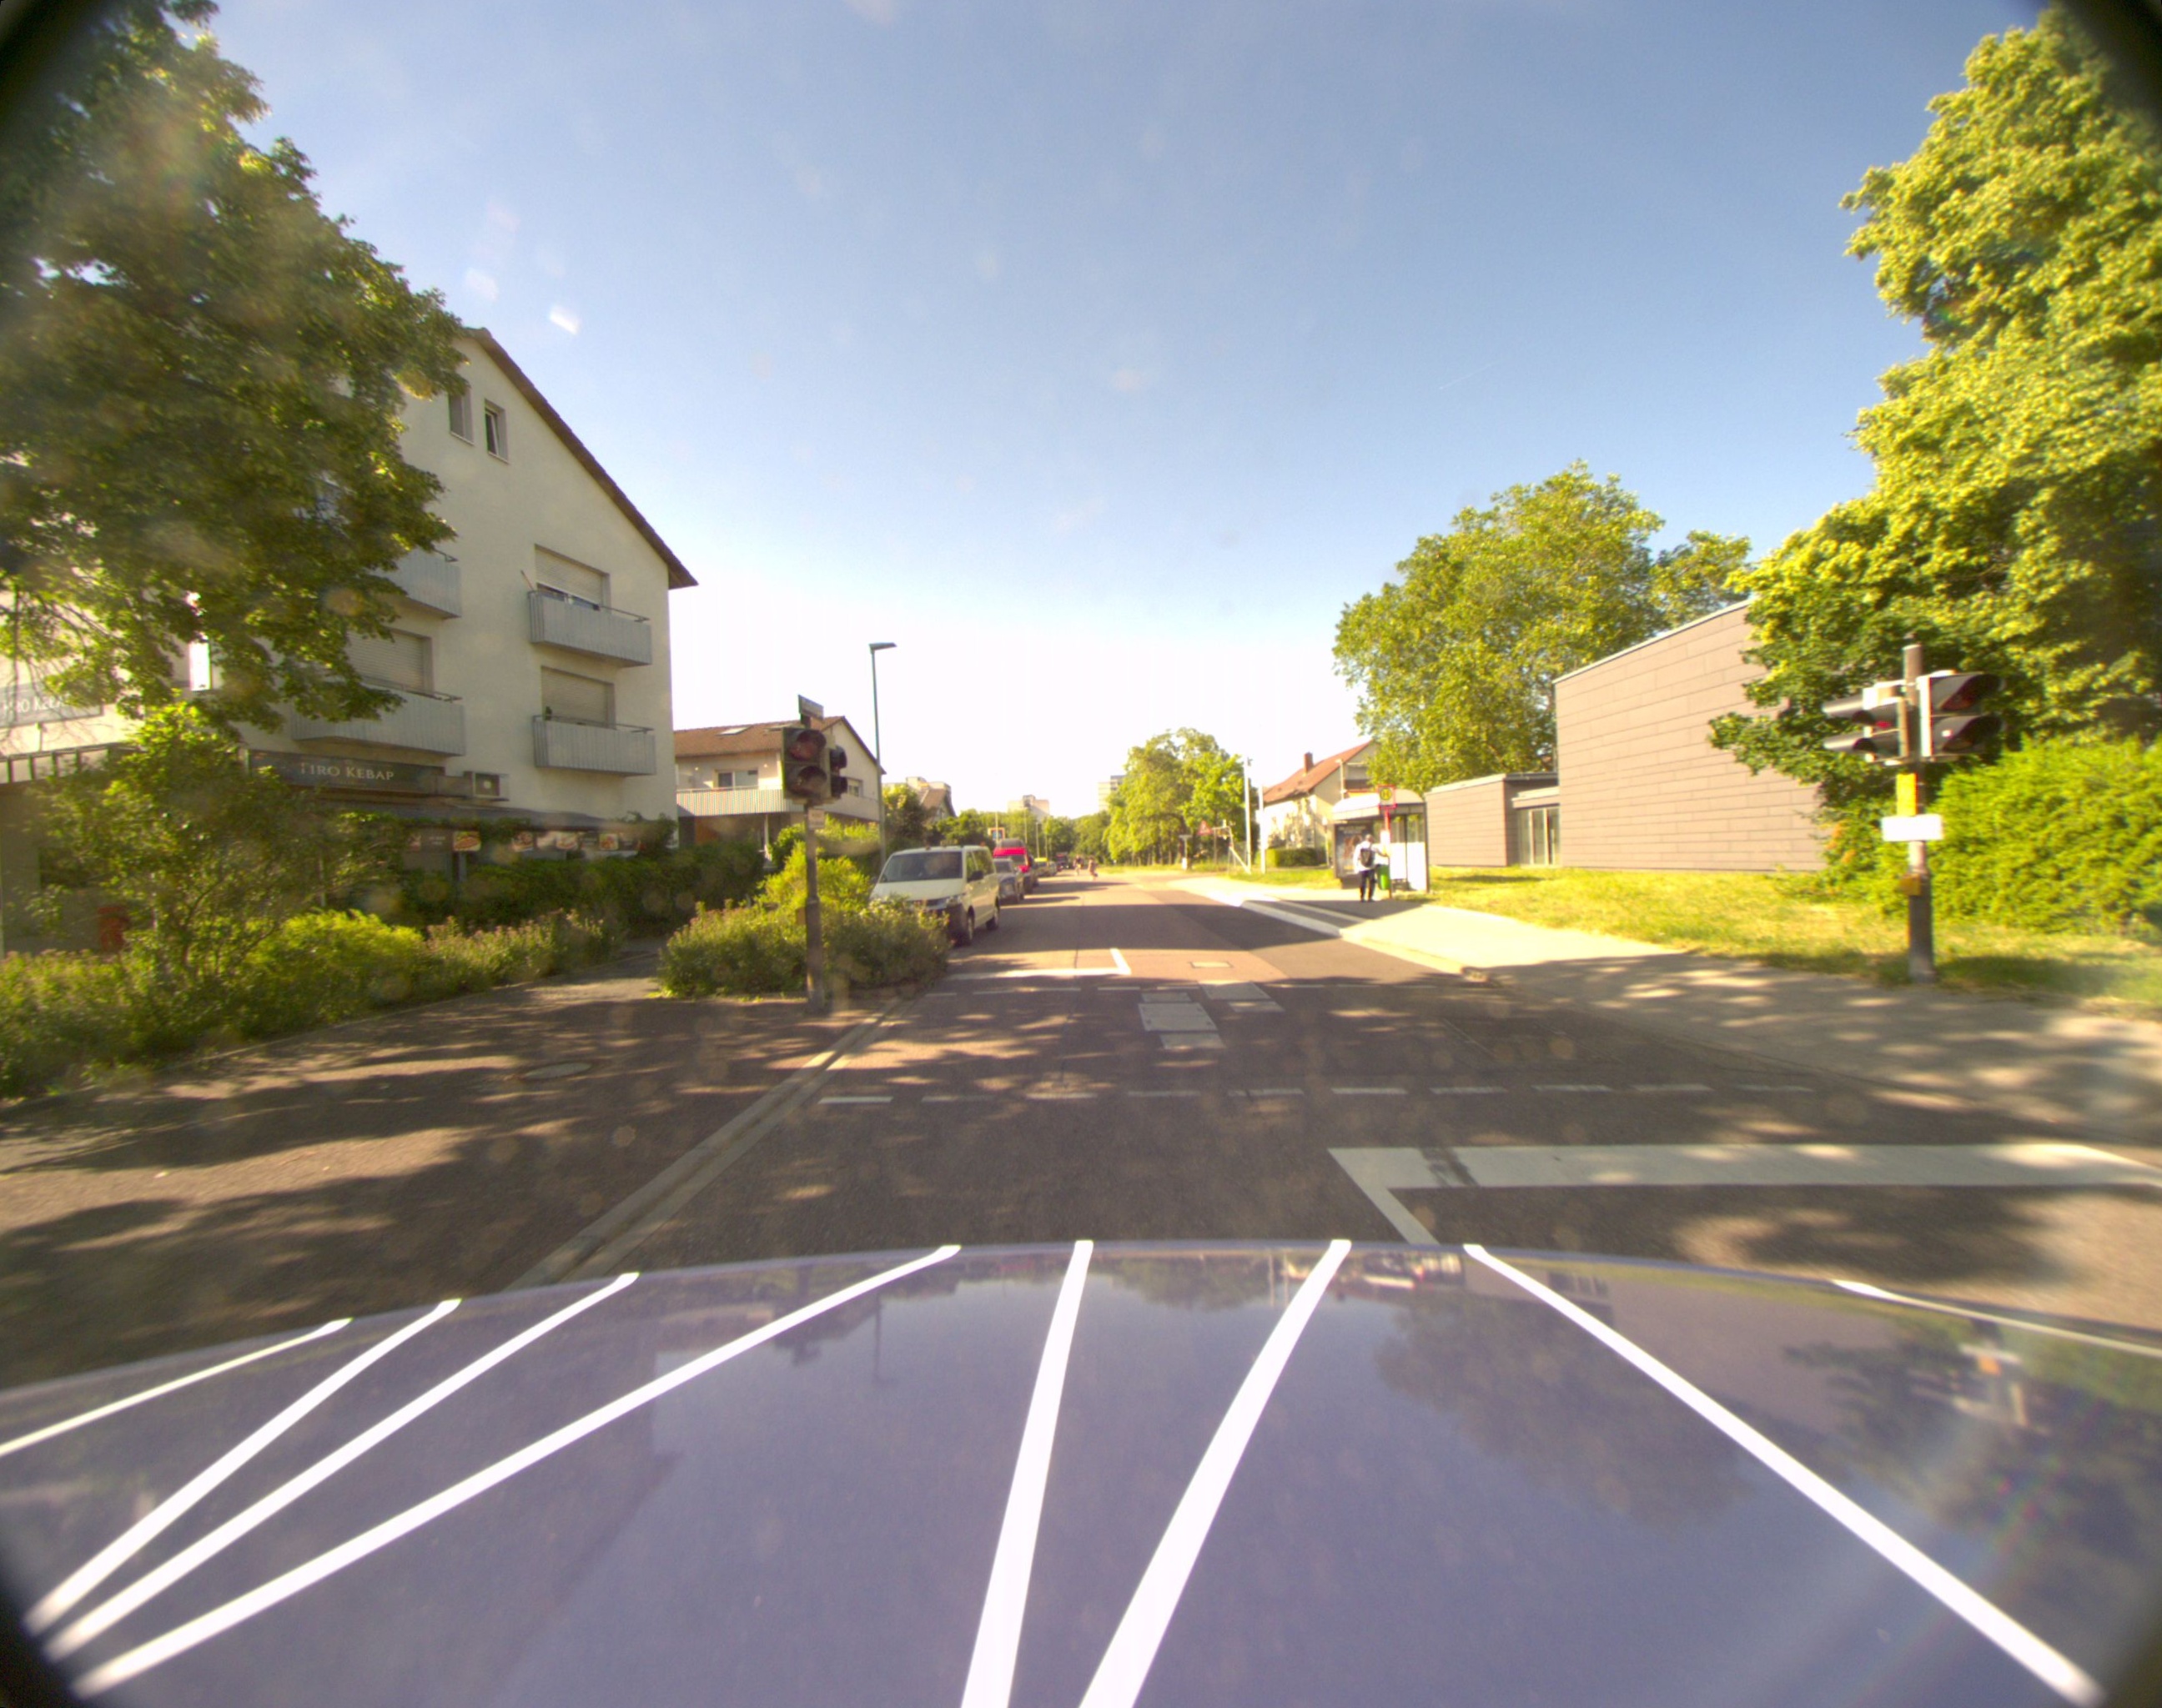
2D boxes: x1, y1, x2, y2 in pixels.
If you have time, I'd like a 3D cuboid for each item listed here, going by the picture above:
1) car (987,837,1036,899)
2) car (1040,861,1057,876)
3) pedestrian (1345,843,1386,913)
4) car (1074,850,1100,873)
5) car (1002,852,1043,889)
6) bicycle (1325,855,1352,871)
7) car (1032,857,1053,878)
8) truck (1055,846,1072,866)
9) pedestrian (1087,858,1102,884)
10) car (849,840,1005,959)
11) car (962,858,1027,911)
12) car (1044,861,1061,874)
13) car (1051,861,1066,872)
[{"bbox_3d":[-3.174,0.613,35.830,1.962,2.629,5.222,-3,0,-3],"label":"car"},{"bbox_3d":[-3.493,1.502,81.155,1.621,1.478,3.981,-3,0,-1],"label":"car"},{"bbox_3d":[7.569,0.636,20.210,0.716,1.793,0.772,-2,3,40],"label":"pedestrian"},{"bbox_3d":[0.498,0.662,69.876,1.966,1.908,4.575,-3,1,-4],"label":"car"},{"bbox_3d":[-3.255,0.884,43.030,1.862,1.837,4.560,-4,0,-1],"label":"car"},{"bbox_3d":[16.784,0.602,49.637,1.598,0.978,0.500,-3,-2,16],"label":"bicycle"},{"bbox_3d":[-3.475,1.191,69.516,1.621,1.766,3.981,-3,0,-1],"label":"car"},{"bbox_3d":[-4.206,0.558,180.038,3.602,4.543,10.024,-2,0,0],"label":"truck"},{"bbox_3d":[0.860,1.075,48.301,0.834,1.578,0.632,1,3,17],"label":"pedestrian"},{"bbox_3d":[-3.009,0.806,15.991,1.998,2.067,4.578,-3,1,4],"label":"car"},{"bbox_3d":[-3.185,1.084,28.877,1.962,1.727,4.576,-3,0,-1],"label":"car"},{"bbox_3d":[-3.703,1.708,98.490,1.999,1.587,4.578,-3,-1,-1],"label":"car"},{"bbox_3d":[-3.676,2.071,125.218,1.998,1.587,4.578,-3,0,2],"label":"car"}]
